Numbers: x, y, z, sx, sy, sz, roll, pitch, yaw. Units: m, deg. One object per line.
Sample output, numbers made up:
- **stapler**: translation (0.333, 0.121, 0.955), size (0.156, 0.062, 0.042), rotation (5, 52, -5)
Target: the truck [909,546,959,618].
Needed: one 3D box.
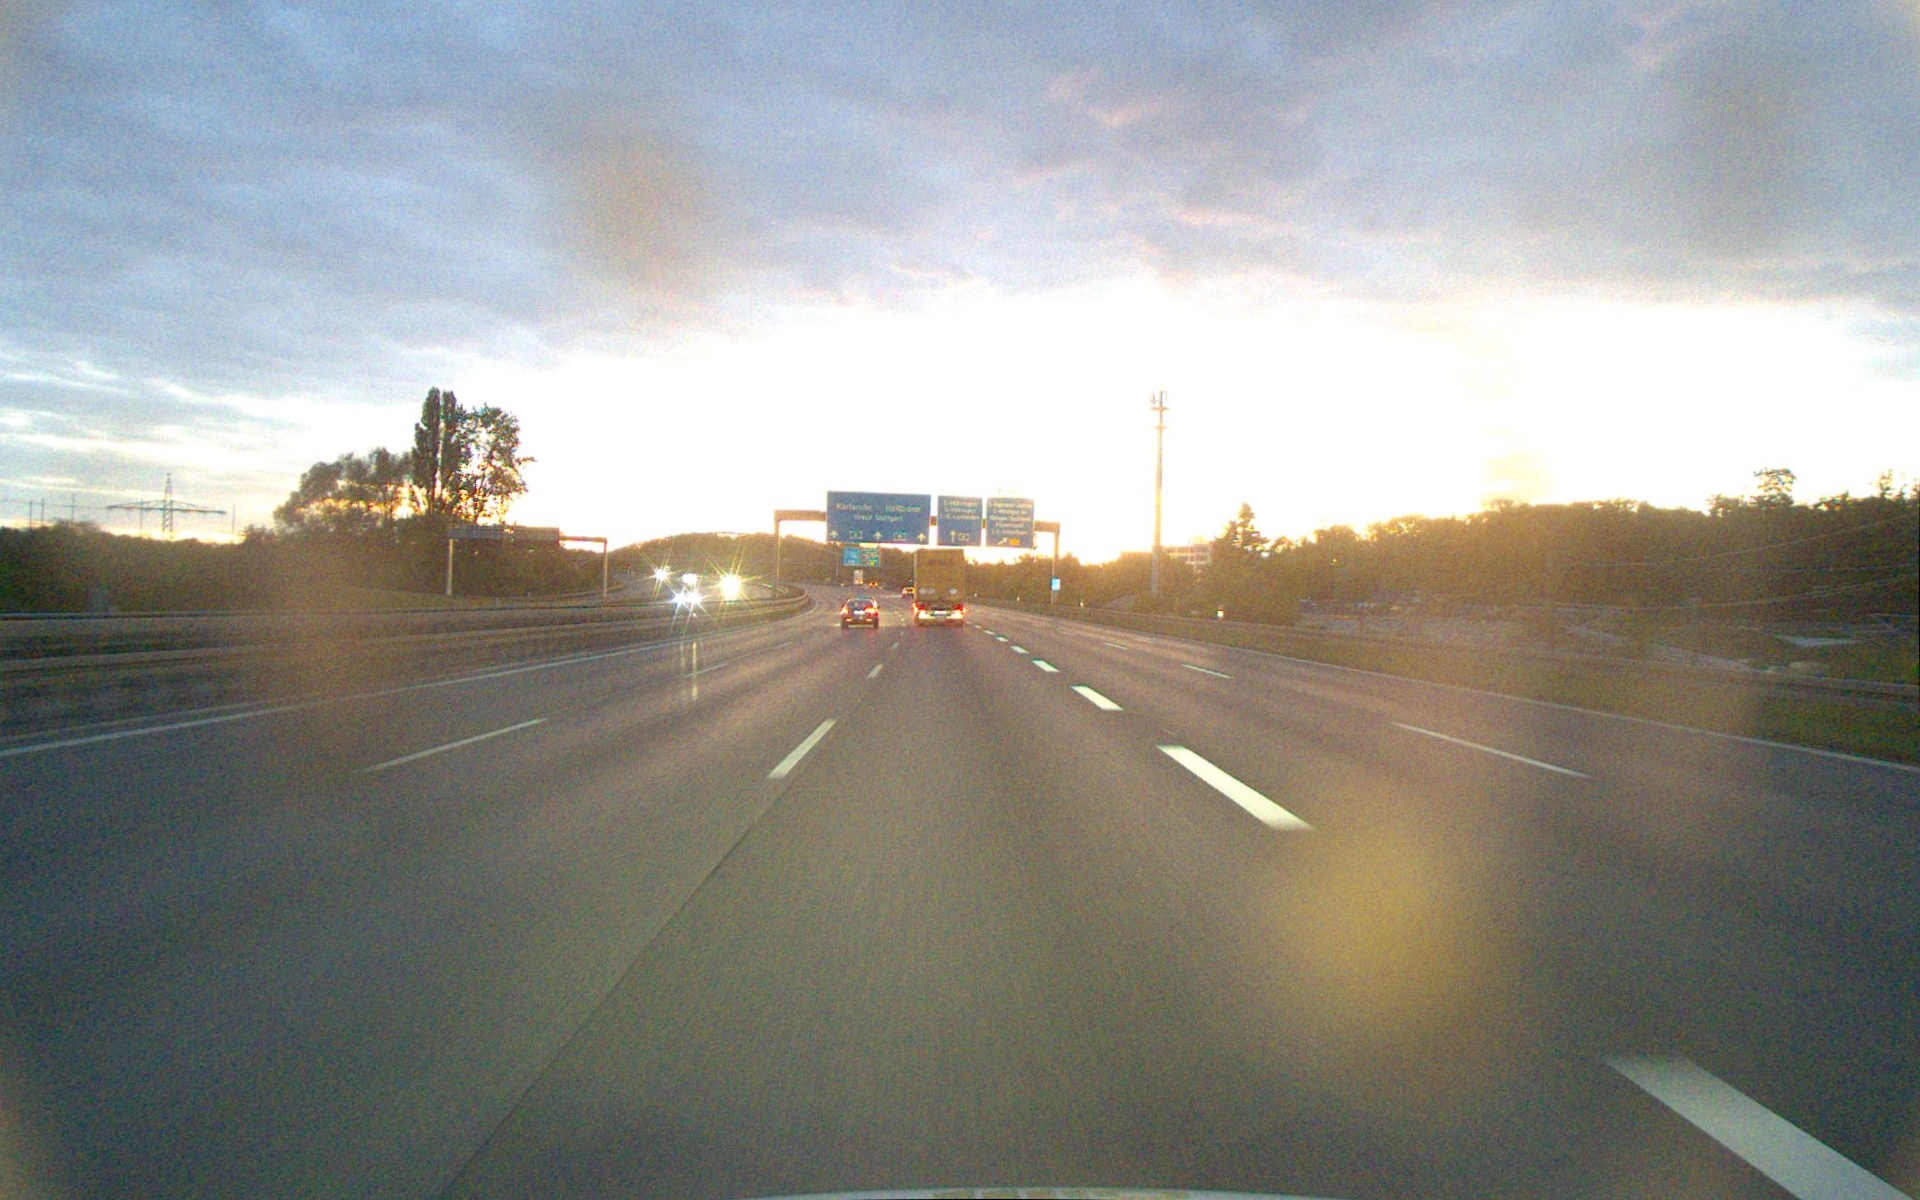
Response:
- **truck**: translation (-1.626, -1.124, 99.270), size (2.636, 4.142, 10.515), rotation (0, 1, -3)

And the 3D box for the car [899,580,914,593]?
- **car**: translation (-7.858, -1.927, 242.657), size (1.955, 1.747, 3.994), rotation (1, -1, -7)

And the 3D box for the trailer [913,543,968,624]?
- **trailer**: translation (-1.135, -0.928, 89.643), size (2.667, 4.142, 8.827), rotation (0, 1, -3)

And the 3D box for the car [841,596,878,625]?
- **car**: translation (-5.048, 0.538, 82.617), size (1.657, 1.426, 3.404), rotation (0, 0, -6)

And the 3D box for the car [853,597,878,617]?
- **car**: translation (-7.187, 0.555, 125.963), size (1.655, 1.426, 3.408), rotation (-1, -1, -1)

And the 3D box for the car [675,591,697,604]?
- **car**: translation (-30.728, -0.240, 185.796), size (1.954, 1.428, 4.326), rotation (1, 0, -4)
